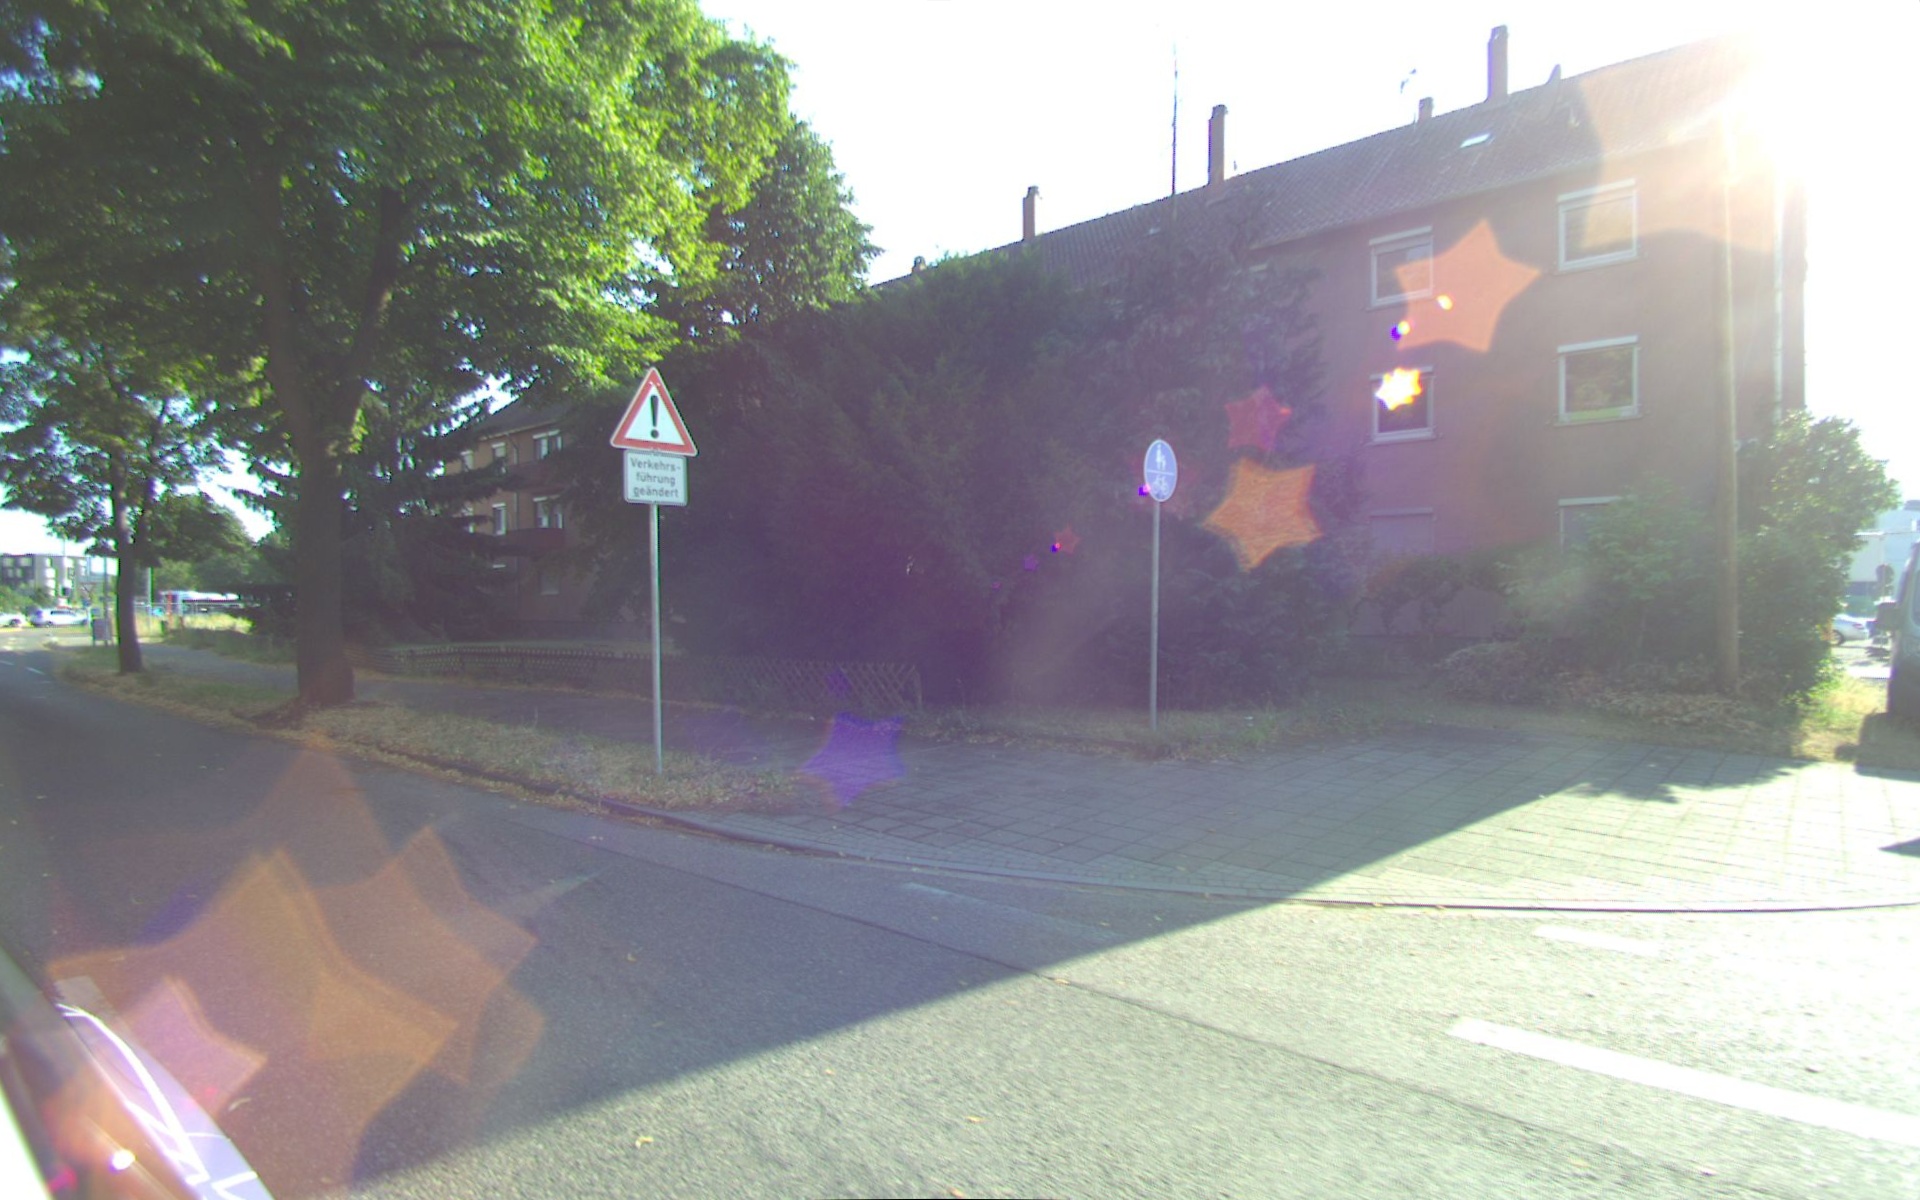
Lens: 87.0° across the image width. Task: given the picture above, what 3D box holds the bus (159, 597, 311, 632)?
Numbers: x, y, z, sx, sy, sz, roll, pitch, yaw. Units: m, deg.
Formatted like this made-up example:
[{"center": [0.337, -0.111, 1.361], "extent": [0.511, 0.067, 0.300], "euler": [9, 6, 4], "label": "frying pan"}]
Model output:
[{"center": [-67.849, 1.274, 95.238], "extent": [2.649, 3.085, 12.085], "euler": [0, 0, 23], "label": "bus"}]

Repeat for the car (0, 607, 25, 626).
[{"center": [-79.839, 1.372, 83.256], "extent": [1.766, 1.541, 3.972], "euler": [0, -1, 21], "label": "car"}]

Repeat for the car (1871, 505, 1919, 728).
[{"center": [13.138, 0.258, 12.694], "extent": [2.167, 2.486, 5.255], "euler": [3, 1, 39], "label": "car"}]

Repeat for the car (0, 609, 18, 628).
[{"center": [-78.191, 1.449, 80.816], "extent": [1.993, 1.541, 3.958], "euler": [0, -1, 31], "label": "car"}]

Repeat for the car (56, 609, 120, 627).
[{"center": [-77.788, 1.600, 90.328], "extent": [1.765, 1.541, 3.973], "euler": [0, -1, 20], "label": "car"}]

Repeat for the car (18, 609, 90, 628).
[{"center": [-74.024, 1.489, 82.746], "extent": [1.984, 1.541, 3.976], "euler": [0, -1, 18], "label": "car"}]
